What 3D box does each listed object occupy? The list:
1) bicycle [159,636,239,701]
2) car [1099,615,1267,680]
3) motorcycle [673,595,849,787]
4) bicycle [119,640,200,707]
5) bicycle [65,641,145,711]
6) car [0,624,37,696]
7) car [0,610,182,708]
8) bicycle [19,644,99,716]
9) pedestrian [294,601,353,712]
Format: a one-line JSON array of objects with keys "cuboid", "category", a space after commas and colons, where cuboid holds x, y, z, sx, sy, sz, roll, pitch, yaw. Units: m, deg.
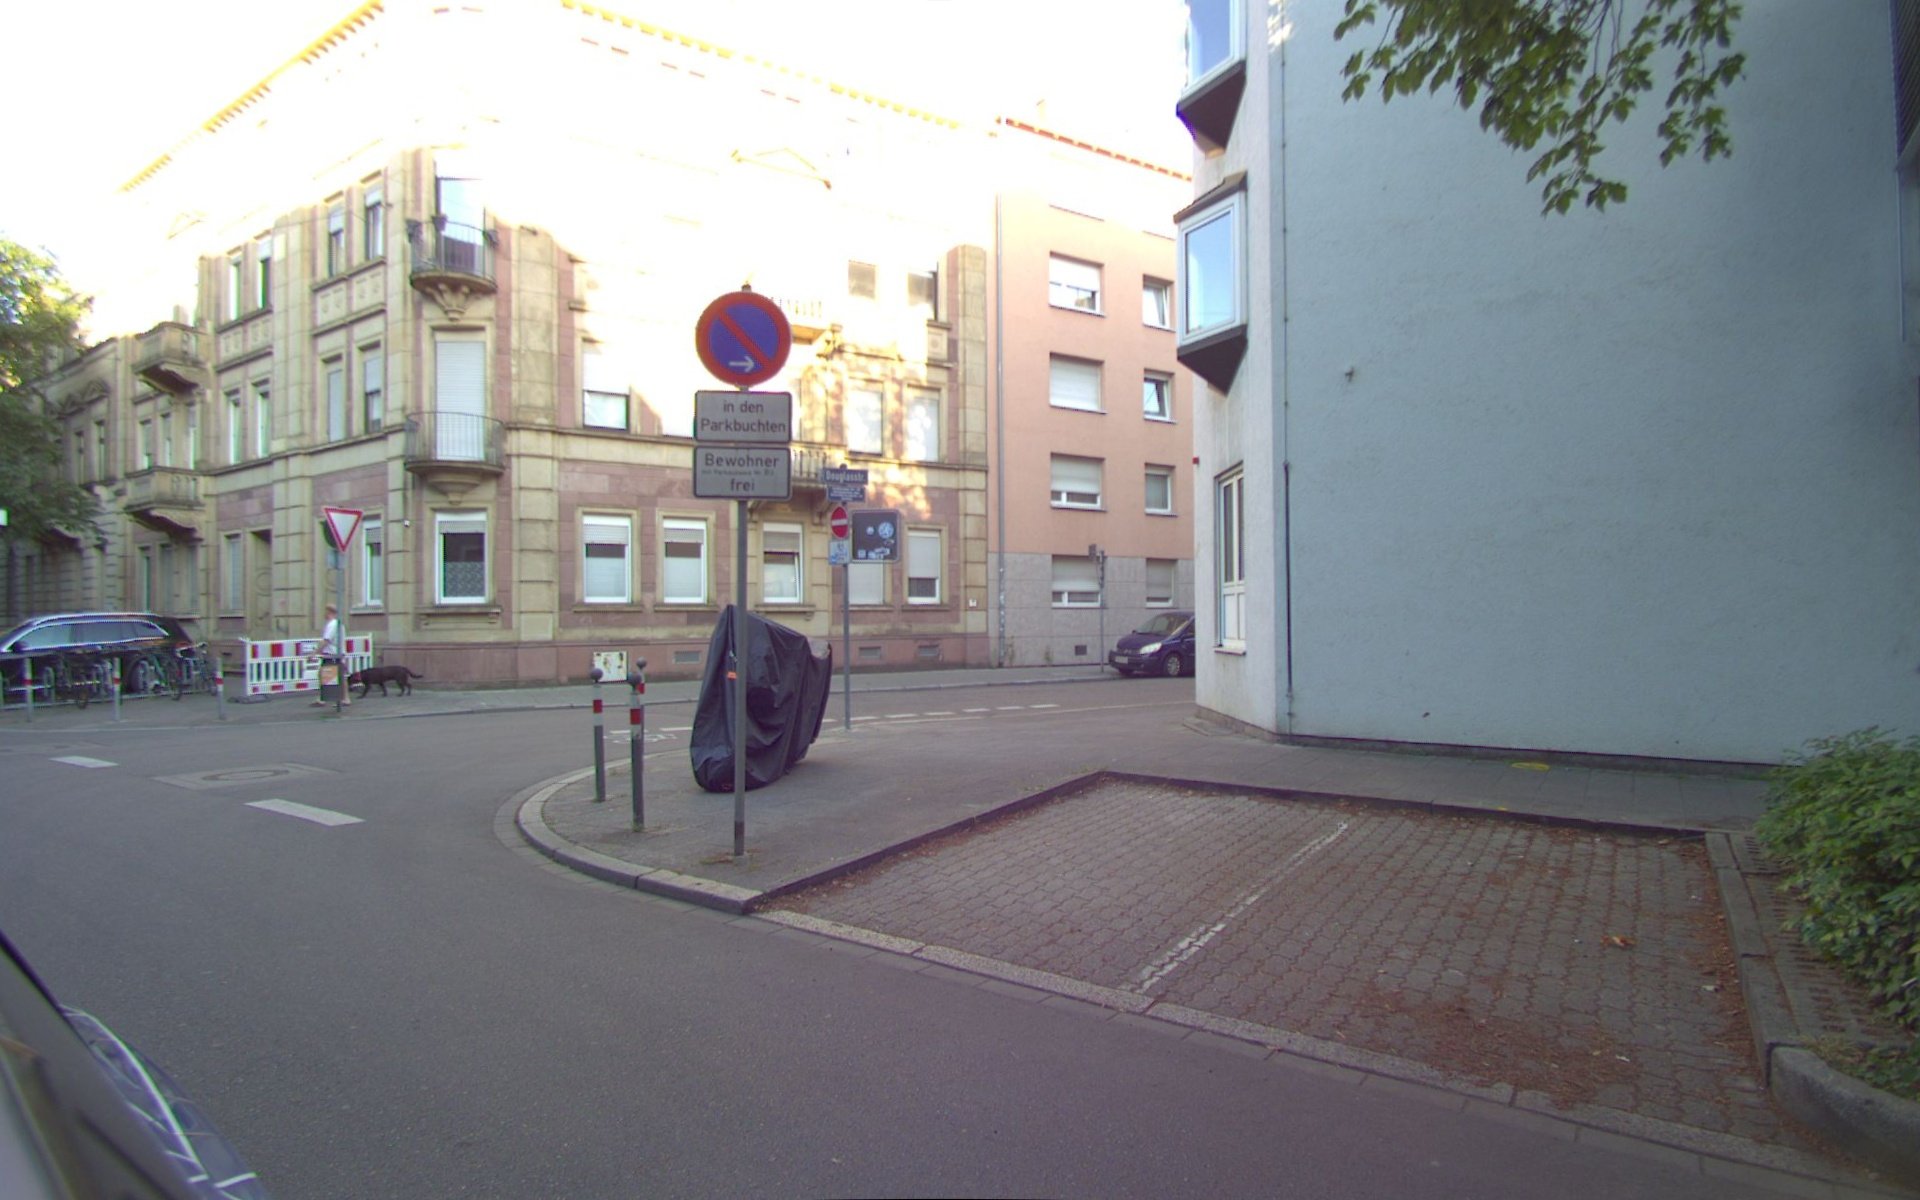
[{"cuboid": [-14.441, 1.270, 19.186, 2.033, 1.159, 0.556, -1, -1, 33], "category": "bicycle"}, {"cuboid": [5.741, 1.161, 25.856, 4.297, 1.529, 1.789, 1, -2, -36], "category": "car"}, {"cuboid": [-1.720, 0.746, 9.205, 0.809, 1.516, 2.276, -1, -1, 10], "category": "motorcycle"}, {"cuboid": [-14.795, 1.331, 18.682, 2.033, 1.159, 0.556, -1, -1, 33], "category": "bicycle"}, {"cuboid": [-15.266, 1.329, 18.054, 2.034, 1.159, 0.555, -1, -1, 34], "category": "bicycle"}, {"cuboid": [-24.300, 1.420, 23.392, 1.740, 1.690, 4.190, -1, -2, 39], "category": "car"}, {"cuboid": [-17.902, 1.097, 19.470, 1.740, 1.795, 4.368, -1, -2, 39], "category": "car"}, {"cuboid": [-15.619, 1.353, 17.525, 2.034, 1.159, 0.555, -1, -1, 34], "category": "bicycle"}, {"cuboid": [-10.642, 0.929, 16.937, 0.641, 1.821, 0.573, -1, -1, -3], "category": "pedestrian"}]
